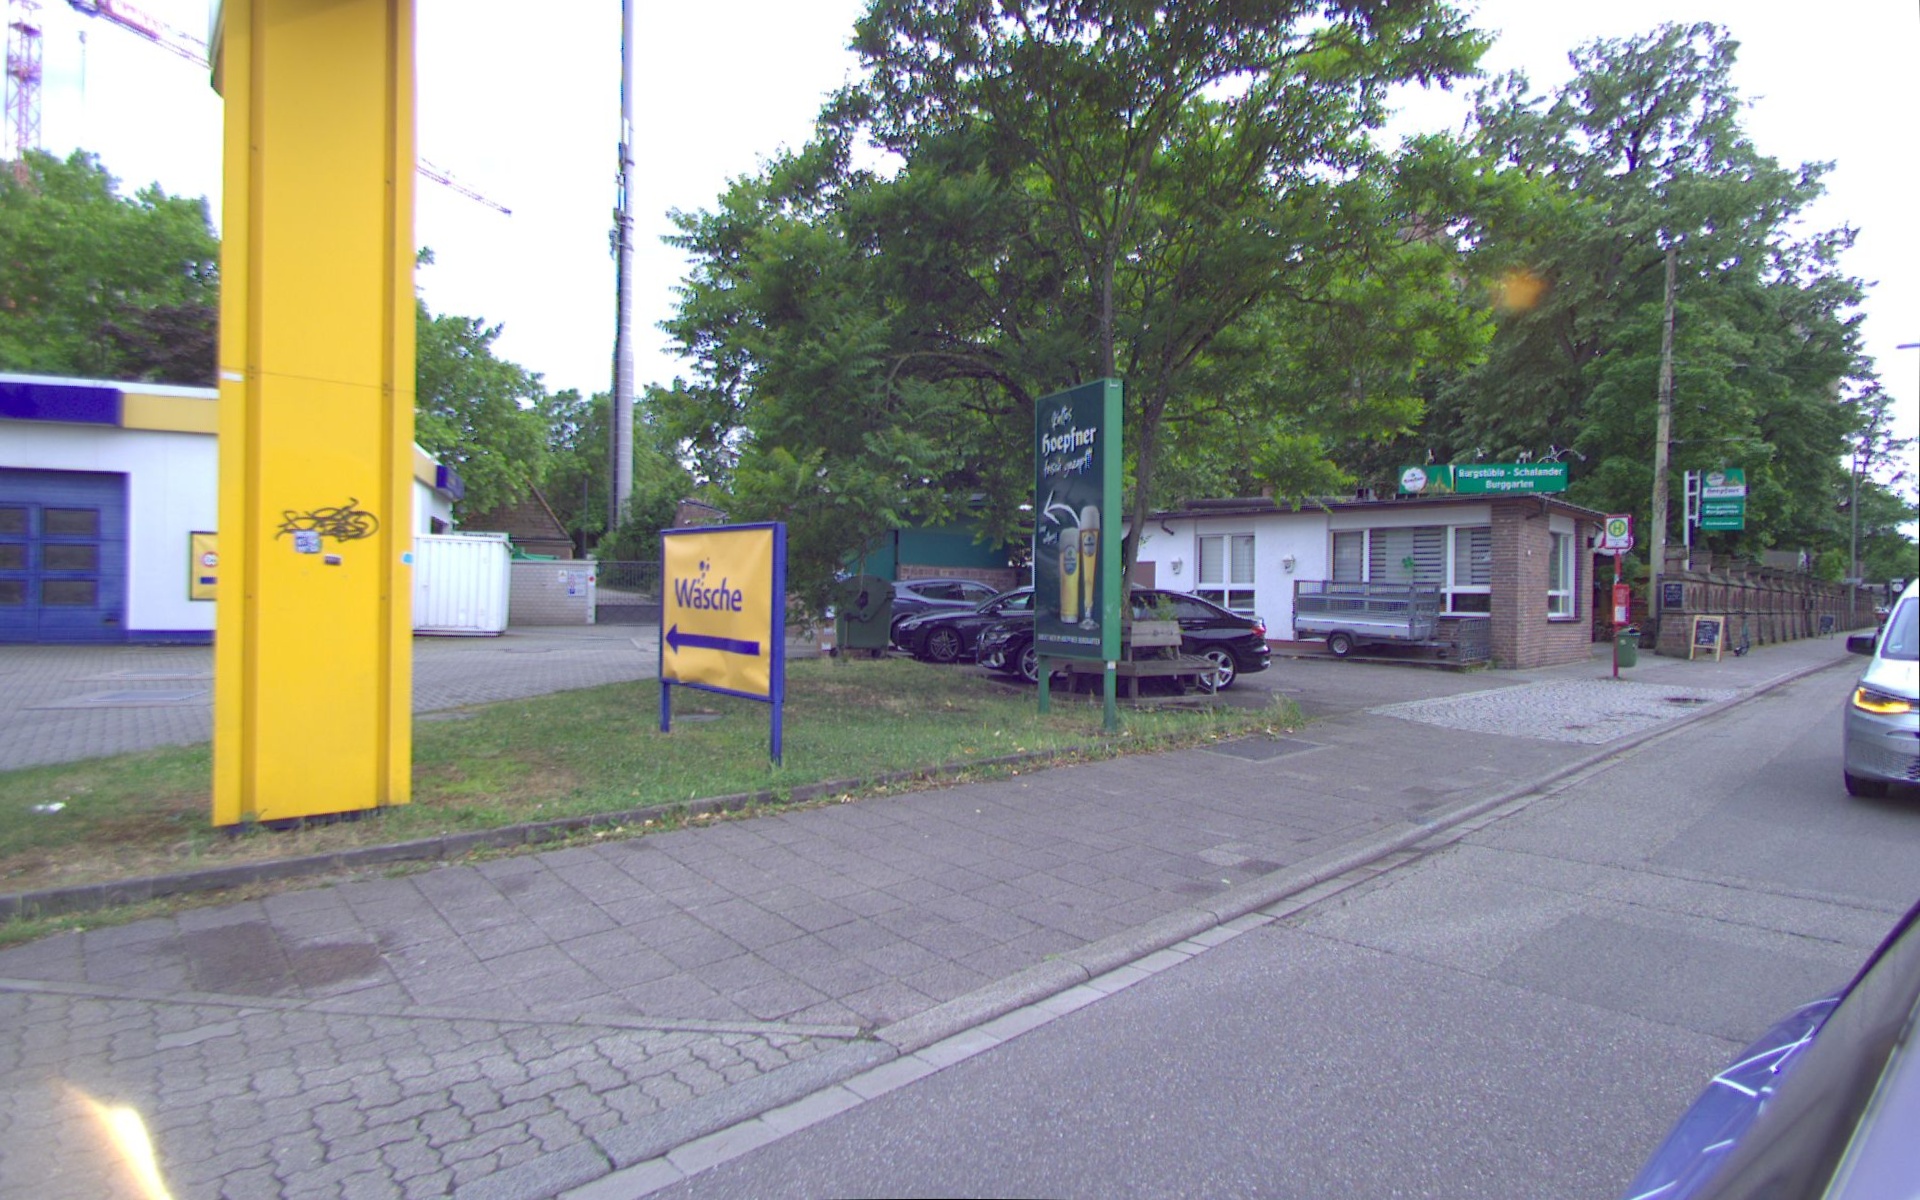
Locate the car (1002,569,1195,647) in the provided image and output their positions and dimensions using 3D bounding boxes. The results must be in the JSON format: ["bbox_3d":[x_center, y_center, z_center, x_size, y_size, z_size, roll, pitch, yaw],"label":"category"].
[{"bbox_3d":[3.168,0.153,23.912,1.955,1.667,4.435,0,1,-38],"label":"car"}]

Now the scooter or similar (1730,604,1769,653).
[{"bbox_3d":[21.774,0.772,27.901,1.386,1.254,0.577,0,4,-44],"label":"scooter or similar"}]

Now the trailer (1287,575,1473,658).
[{"bbox_3d":[8.561,0.285,20.773,1.593,1.558,3.165,0,1,-43],"label":"trailer"}]

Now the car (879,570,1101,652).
[{"bbox_3d":[0.536,0.215,21.319,4.401,1.477,1.988,2,0,-5],"label":"car"}]

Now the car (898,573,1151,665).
[{"bbox_3d":[1.115,0.316,18.889,4.454,1.444,1.880,2,3,-1],"label":"car"}]

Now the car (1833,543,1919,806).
[{"bbox_3d":[8.822,0.548,8.228,4.849,1.830,1.849,1,1,-40],"label":"car"}]

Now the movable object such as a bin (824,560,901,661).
[{"bbox_3d":[-1.604,0.167,16.953,1.102,1.533,1.422,4,-1,-3],"label":"movable object such as a bin"}]

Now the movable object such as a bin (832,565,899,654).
[{"bbox_3d":[-1.691,0.180,18.323,1.102,1.510,1.295,3,-2,-4],"label":"movable object such as a bin"}]

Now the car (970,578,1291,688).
[{"bbox_3d":[2.433,0.458,15.375,4.497,1.425,1.935,2,1,0],"label":"car"}]
